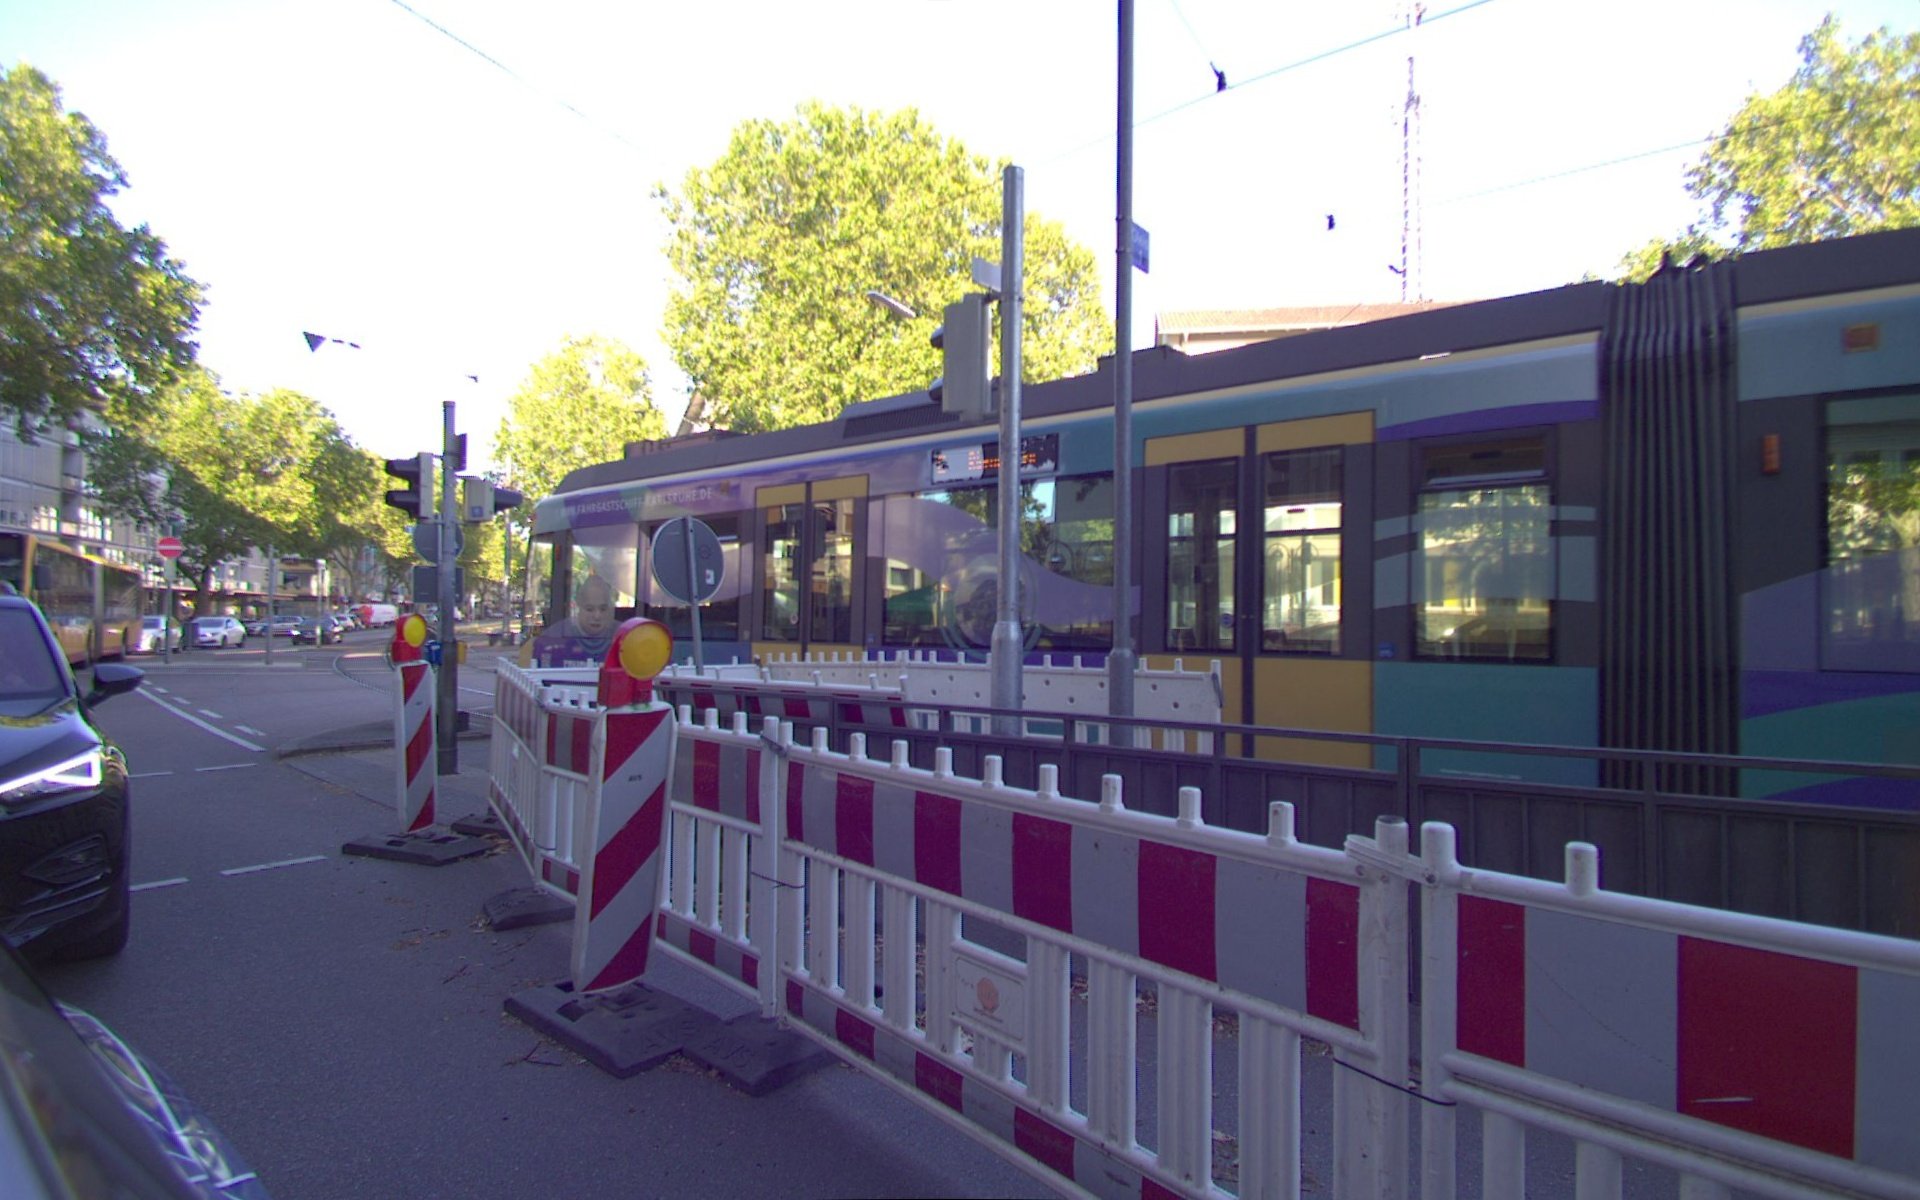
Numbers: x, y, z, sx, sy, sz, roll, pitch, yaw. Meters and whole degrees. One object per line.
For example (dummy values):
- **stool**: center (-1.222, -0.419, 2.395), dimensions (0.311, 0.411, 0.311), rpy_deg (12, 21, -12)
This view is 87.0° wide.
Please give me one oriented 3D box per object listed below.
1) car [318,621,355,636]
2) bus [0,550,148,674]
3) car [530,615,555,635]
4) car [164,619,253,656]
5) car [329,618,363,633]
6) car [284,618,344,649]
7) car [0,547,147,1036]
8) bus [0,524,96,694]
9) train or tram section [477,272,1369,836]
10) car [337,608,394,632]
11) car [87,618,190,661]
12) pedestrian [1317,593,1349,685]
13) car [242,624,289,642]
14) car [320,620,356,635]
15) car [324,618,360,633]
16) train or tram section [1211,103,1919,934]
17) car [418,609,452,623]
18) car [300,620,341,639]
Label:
- **car**: center (-54.932, 2.487, 89.179), dimensions (1.201, 1.290, 2.592), rpy_deg (0, -1, 43)
- **bus**: center (-26.360, 0.380, 29.802), dimensions (2.708, 3.127, 9.523), rpy_deg (1, -2, -32)
- **car**: center (-40.161, 2.429, 97.511), dimensions (1.965, 1.881, 4.012), rpy_deg (1, -1, -19)
- **car**: center (-34.624, 1.705, 46.772), dimensions (1.923, 1.562, 4.771), rpy_deg (1, -1, -19)
- **car**: center (-59.522, 2.462, 98.071), dimensions (1.201, 1.355, 2.592), rpy_deg (0, -1, 43)
- **car**: center (-34.003, 1.752, 53.399), dimensions (1.923, 1.486, 4.772), rpy_deg (1, -1, -24)
- **car**: center (-5.174, 0.688, 4.602), dimensions (4.300, 1.670, 1.823), rpy_deg (-1, -1, 45)
- **bus**: center (-21.054, 0.224, 21.953), dimensions (2.710, 3.127, 9.519), rpy_deg (1, -2, -36)
- **train or tram section**: center (-1.408, -0.217, 10.754), dimensions (10.332, 3.514, 2.806), rpy_deg (-1, -1, 41)
- **car**: center (-61.625, 2.027, 105.004), dimensions (1.873, 2.394, 4.817), rpy_deg (0, -1, 30)
- **car**: center (-30.616, 1.430, 37.870), dimensions (1.880, 1.486, 4.433), rpy_deg (1, -1, -24)
- **pedestrian**: center (7.024, 0.724, 19.071), dimensions (0.539, 1.710, 0.515), rpy_deg (0, -2, 18)
- **car**: center (-50.860, 2.407, 74.104), dimensions (1.198, 1.226, 2.599), rpy_deg (0, -1, 34)
- **car**: center (-56.556, 2.499, 92.068), dimensions (1.201, 1.290, 2.592), rpy_deg (0, -1, 43)
- **car**: center (-58.187, 2.375, 95.306), dimensions (1.201, 1.399, 2.592), rpy_deg (0, -1, 43)
- **train or tram section**: center (6.465, -0.354, 4.170), dimensions (10.325, 3.514, 2.843), rpy_deg (-1, -1, 38)
- **car**: center (-77.523, 2.427, 149.462), dimensions (1.874, 2.029, 3.956), rpy_deg (-1, -2, 32)
- **car**: center (-52.367, 2.417, 82.925), dimensions (1.201, 1.484, 2.592), rpy_deg (0, -1, 43)
